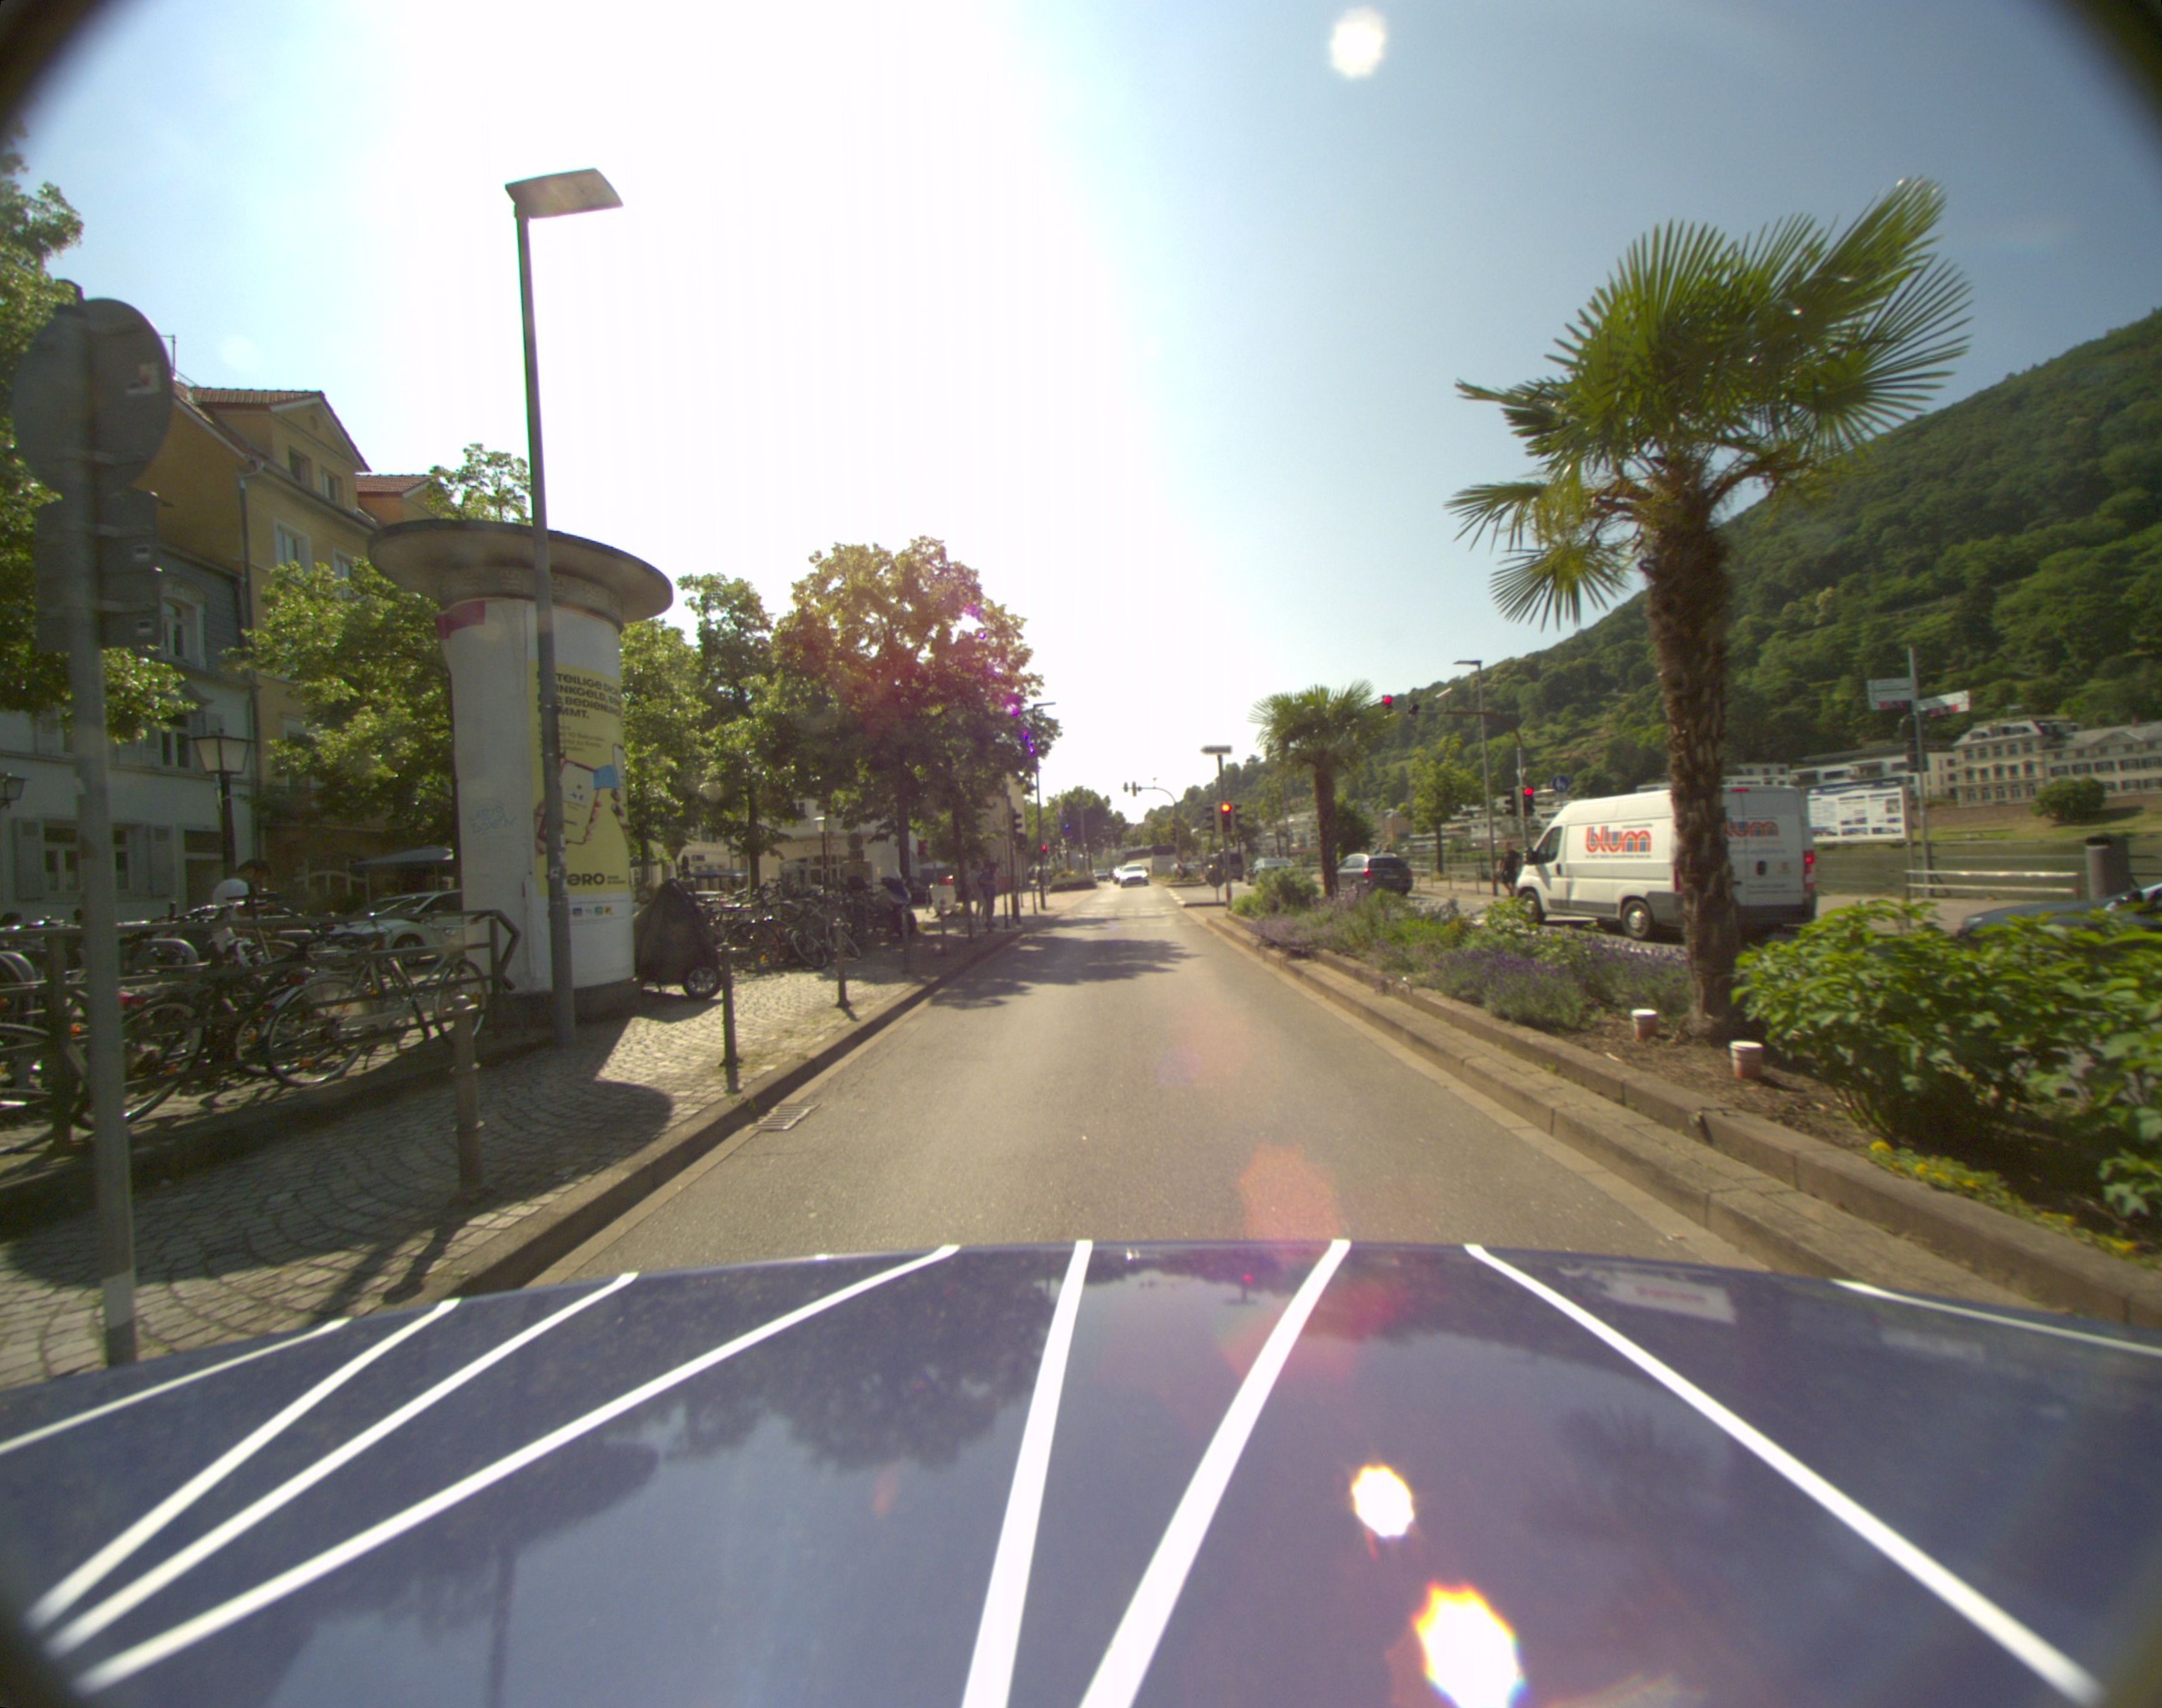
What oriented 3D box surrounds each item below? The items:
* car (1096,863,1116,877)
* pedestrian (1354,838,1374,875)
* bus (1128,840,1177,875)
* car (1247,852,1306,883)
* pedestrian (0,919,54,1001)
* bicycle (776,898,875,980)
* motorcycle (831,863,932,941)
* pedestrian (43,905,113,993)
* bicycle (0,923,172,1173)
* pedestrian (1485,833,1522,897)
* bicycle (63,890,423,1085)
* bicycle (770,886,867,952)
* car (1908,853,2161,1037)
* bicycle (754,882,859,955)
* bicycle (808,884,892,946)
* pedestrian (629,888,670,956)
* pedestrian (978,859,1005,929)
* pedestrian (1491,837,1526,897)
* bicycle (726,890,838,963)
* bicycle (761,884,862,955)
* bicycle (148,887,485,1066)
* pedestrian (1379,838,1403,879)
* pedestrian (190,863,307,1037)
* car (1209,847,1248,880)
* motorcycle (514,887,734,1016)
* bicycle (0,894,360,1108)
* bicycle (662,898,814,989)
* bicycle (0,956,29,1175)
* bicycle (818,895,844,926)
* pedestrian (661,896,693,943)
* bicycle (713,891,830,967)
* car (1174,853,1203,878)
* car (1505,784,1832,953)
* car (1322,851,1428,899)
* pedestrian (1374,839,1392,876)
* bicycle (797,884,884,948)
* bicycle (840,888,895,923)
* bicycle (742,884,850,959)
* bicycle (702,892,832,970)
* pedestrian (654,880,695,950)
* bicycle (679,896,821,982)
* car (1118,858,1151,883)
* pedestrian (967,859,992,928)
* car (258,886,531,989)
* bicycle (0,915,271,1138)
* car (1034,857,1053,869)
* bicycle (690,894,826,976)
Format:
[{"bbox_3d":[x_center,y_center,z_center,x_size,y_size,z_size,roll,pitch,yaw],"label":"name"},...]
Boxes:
[{"bbox_3d":[2.702,1.720,83.007,1.999,1.497,4.591,0,0,-1],"label":"car"},{"bbox_3d":[13.712,0.130,36.856,0.593,1.741,0.780,-2,0,-1],"label":"pedestrian"},{"bbox_3d":[7.352,0.373,79.745,2.657,3.368,10.787,-2,0,-7],"label":"bus"},{"bbox_3d":[9.987,0.639,39.142,1.998,1.449,4.644,-2,0,3],"label":"car"},{"bbox_3d":[-20.107,2.002,14.377,0.425,1.468,0.615,-2,1,-7],"label":"pedestrian"},{"bbox_3d":[-3.715,1.216,11.206,0.539,1.002,1.756,-2,0,12],"label":"bicycle"},{"bbox_3d":[-4.238,0.993,16.030,2.196,1.519,0.800,-2,1,37],"label":"motorcycle"},{"bbox_3d":[-19.324,1.808,14.653,0.425,1.603,0.628,-2,1,1],"label":"pedestrian"},{"bbox_3d":[-6.378,1.038,4.180,2.161,1.254,0.476,-1,1,0],"label":"bicycle"},{"bbox_3d":[12.318,0.316,22.165,0.396,1.782,0.609,-8,-1,-39],"label":"pedestrian"},{"bbox_3d":[-6.251,0.976,5.721,2.161,1.360,0.476,-1,1,0],"label":"bicycle"},{"bbox_3d":[-4.770,1.178,13.845,1.632,1.163,0.350,0,0,-4],"label":"bicycle"},{"bbox_3d":[9.671,0.737,5.532,1.998,1.410,4.920,-2,0,2],"label":"car"},{"bbox_3d":[-4.718,1.101,13.105,1.632,1.210,0.413,0,0,-4],"label":"bicycle"},{"bbox_3d":[-4.505,1.182,14.808,1.629,1.163,0.367,-1,0,19],"label":"bicycle"},{"bbox_3d":[-9.640,1.517,16.988,0.493,1.451,0.580,-2,0,6],"label":"pedestrian"},{"bbox_3d":[-2.276,1.009,19.391,0.541,1.767,0.583,-1,0,5],"label":"pedestrian"},{"bbox_3d":[12.494,0.383,22.197,0.396,1.704,0.609,-8,0,-39],"label":"pedestrian"},{"bbox_3d":[-4.800,1.154,12.253,1.632,1.126,0.413,0,0,-4],"label":"bicycle"},{"bbox_3d":[-4.786,1.156,13.540,1.632,1.210,0.413,0,0,-4],"label":"bicycle"},{"bbox_3d":[-6.238,0.975,6.264,2.161,1.360,0.584,-1,1,0],"label":"bicycle"},{"bbox_3d":[14.342,0.192,35.152,0.794,1.845,0.580,-2,0,-2],"label":"pedestrian"},{"bbox_3d":[-8.767,0.988,8.016,0.541,1.735,0.501,-4,1,2],"label":"pedestrian"},{"bbox_3d":[10.263,0.606,53.204,1.869,2.137,5.023,-3,0,3],"label":"car"},{"bbox_3d":[-5.150,1.048,8.521,2.532,1.267,0.725,-2,1,23],"label":"motorcycle"},{"bbox_3d":[-6.266,0.979,5.214,2.161,1.360,0.476,-1,1,0],"label":"bicycle"},{"bbox_3d":[-4.533,1.176,10.124,1.754,1.126,0.540,0,0,-6],"label":"bicycle"},{"bbox_3d":[-6.443,1.078,3.749,2.028,1.086,0.338,-1,0,0],"label":"bicycle"},{"bbox_3d":[-8.098,1.817,24.596,0.329,0.973,1.623,-1,-1,-35],"label":"bicycle"},{"bbox_3d":[-9.574,1.540,18.026,0.425,1.068,0.527,-2,0,0],"label":"pedestrian"},{"bbox_3d":[-4.798,1.159,11.820,1.632,1.126,0.413,0,0,-4],"label":"bicycle"},{"bbox_3d":[9.326,0.997,66.222,1.998,2.002,4.000,-2,0,3],"label":"car"},{"bbox_3d":[10.033,0.212,13.645,2.200,2.511,4.748,0,0,0],"label":"car"},{"bbox_3d":[10.120,0.670,26.541,1.998,1.444,4.261,-4,0,1],"label":"car"},{"bbox_3d":[14.628,0.167,36.804,0.593,1.741,0.503,-2,0,-2],"label":"pedestrian"},{"bbox_3d":[-4.602,1.171,14.515,1.629,1.163,0.425,-1,0,19],"label":"bicycle"},{"bbox_3d":[-7.269,1.751,25.887,1.881,1.124,0.329,-2,-1,16],"label":"bicycle"},{"bbox_3d":[-4.745,1.110,12.685,1.632,1.210,0.413,0,0,-4],"label":"bicycle"},{"bbox_3d":[-4.732,1.155,11.518,1.753,1.126,0.464,0,0,-4],"label":"bicycle"},{"bbox_3d":[-9.103,1.353,17.031,0.493,1.499,0.667,-2,0,0],"label":"pedestrian"},{"bbox_3d":[-4.599,1.173,10.621,1.753,1.126,0.464,0,0,-4],"label":"bicycle"},{"bbox_3d":[3.465,1.056,50.098,1.998,1.497,4.592,-2,0,3],"label":"car"},{"bbox_3d":[-2.663,1.023,19.958,0.541,1.767,0.582,-1,0,-1],"label":"pedestrian"},{"bbox_3d":[-14.784,1.689,16.798,1.839,1.780,4.463,-5,-2,1],"label":"car"},{"bbox_3d":[-6.342,1.036,4.686,2.161,1.254,0.476,-1,1,0],"label":"bicycle"},{"bbox_3d":[-6.235,1.454,127.006,2.001,1.750,4.583,-3,2,-18],"label":"car"},{"bbox_3d":[-4.685,1.164,11.083,1.753,1.126,0.464,0,0,-4],"label":"bicycle"}]
